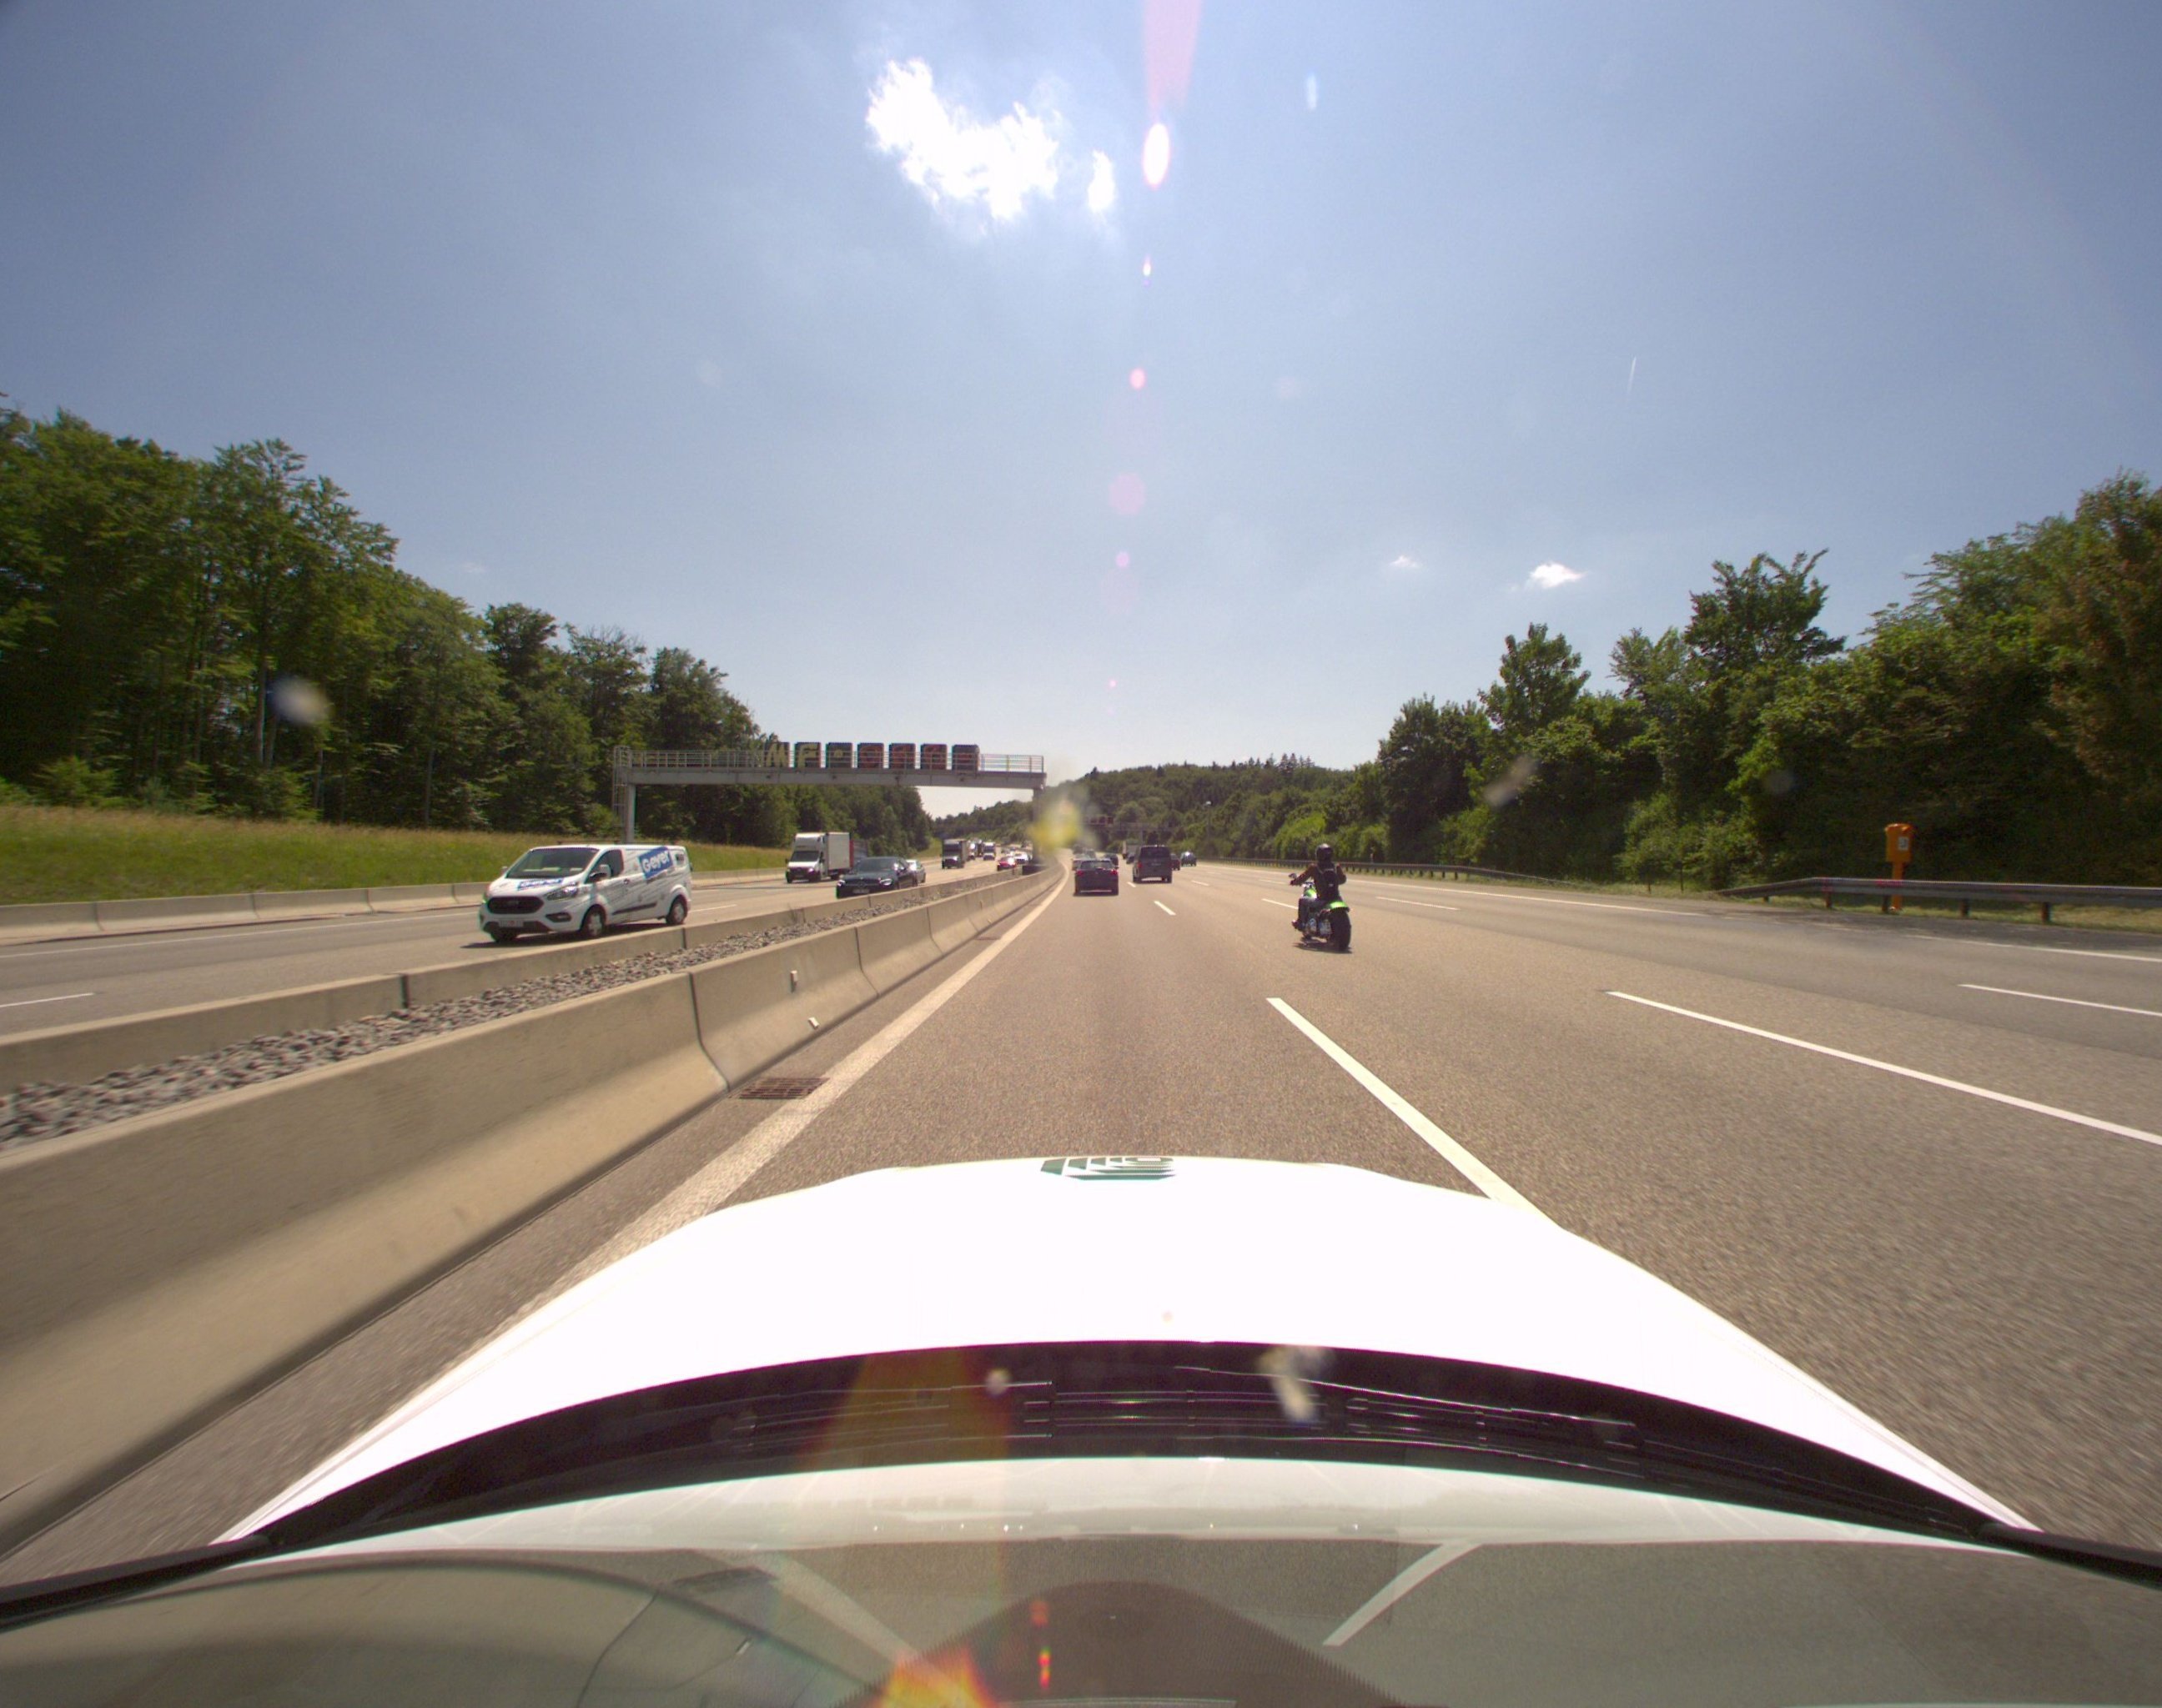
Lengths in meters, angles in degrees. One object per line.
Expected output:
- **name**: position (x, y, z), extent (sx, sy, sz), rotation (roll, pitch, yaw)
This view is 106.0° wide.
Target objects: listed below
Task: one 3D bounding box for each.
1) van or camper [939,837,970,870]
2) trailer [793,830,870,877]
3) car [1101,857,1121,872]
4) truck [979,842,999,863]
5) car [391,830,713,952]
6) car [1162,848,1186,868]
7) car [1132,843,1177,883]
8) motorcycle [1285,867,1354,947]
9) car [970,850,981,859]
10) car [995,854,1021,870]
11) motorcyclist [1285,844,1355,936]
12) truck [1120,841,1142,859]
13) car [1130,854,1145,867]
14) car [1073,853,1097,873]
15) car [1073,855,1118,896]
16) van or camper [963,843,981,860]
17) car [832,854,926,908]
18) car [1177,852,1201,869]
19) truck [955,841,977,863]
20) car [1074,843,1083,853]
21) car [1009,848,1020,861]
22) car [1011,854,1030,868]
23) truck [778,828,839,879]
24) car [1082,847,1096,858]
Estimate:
- **van or camper**: position (-14.648, -0.060, 94.799), extent (2.423, 3.678, 7.754), rotation (-1, 0, -1)
- **trailer**: position (-17.818, 0.066, 59.008), extent (2.467, 3.154, 10.475), rotation (0, -1, -1)
- **car**: position (3.504, 1.245, 95.192), extent (1.988, 1.728, 4.146), rotation (-1, 0, -2)
- **truck**: position (-17.440, -0.187, 155.516), extent (2.923, 3.804, 9.337), rotation (-1, 0, -2)
- **car**: position (-10.661, 0.661, 17.498), extent (2.188, 2.055, 7.140), rotation (-1, 0, 0)
- **car**: position (8.090, 0.351, 70.824), extent (1.841, 1.728, 4.003), rotation (-1, 0, 3)
- **car**: position (3.978, 0.475, 44.623), extent (1.957, 2.033, 5.082), rotation (-1, 0, 0)
- **motorcycle**: position (3.900, 0.821, 13.518), extent (0.533, 1.135, 2.439), rotation (-1, 0, 3)
- **car**: position (-24.437, 0.071, 188.125), extent (1.988, 2.014, 3.998), rotation (0, -1, -1)
- **car**: position (-7.064, 0.733, 79.196), extent (2.041, 1.442, 5.220), rotation (-1, 0, 0)
- **motorcyclist**: position (3.859, 0.557, 13.244), extent (0.849, 1.427, 1.024), rotation (-1, 0, 3)
- **truck**: position (8.881, -0.754, 144.333), extent (2.979, 3.166, 7.565), rotation (-1, 1, -4)
- **car**: position (7.156, 0.810, 103.078), extent (1.659, 1.408, 4.905), rotation (-1, 1, 1)
- **car**: position (0.407, 0.876, 77.082), extent (2.004, 1.846, 4.003), rotation (-1, -2, 3)
- **car**: position (0.580, 0.806, 32.520), extent (1.702, 1.433, 4.001), rotation (0, 1, 1)
- **van or camper**: position (-21.709, -0.475, 162.536), extent (2.757, 3.125, 8.089), rotation (0, -1, -1)
- **car**: position (-6.773, 0.886, 27.889), extent (1.819, 1.662, 4.919), rotation (0, -1, 2)
- **car**: position (11.460, 0.667, 86.845), extent (1.987, 1.728, 3.999), rotation (-1, -1, -1)
- **truck**: position (-20.624, -0.296, 146.193), extent (2.861, 3.697, 9.234), rotation (0, -1, -1)
- **car**: position (-0.649, -1.501, 210.551), extent (2.257, 2.371, 4.702), rotation (-1, 0, 0)
- **car**: position (-13.491, 0.184, 165.452), extent (1.988, 2.575, 4.167), rotation (0, 0, -1)
- **car**: position (-7.398, 0.867, 100.297), extent (1.987, 1.728, 4.000), rotation (-1, 0, 1)
- **truck**: position (-17.762, -0.009, 53.360), extent (2.480, 3.167, 4.400), rotation (0, -1, -1)
- **car**: position (1.375, -0.327, 141.254), extent (2.097, 1.744, 4.685), rotation (-1, 1, -2)
